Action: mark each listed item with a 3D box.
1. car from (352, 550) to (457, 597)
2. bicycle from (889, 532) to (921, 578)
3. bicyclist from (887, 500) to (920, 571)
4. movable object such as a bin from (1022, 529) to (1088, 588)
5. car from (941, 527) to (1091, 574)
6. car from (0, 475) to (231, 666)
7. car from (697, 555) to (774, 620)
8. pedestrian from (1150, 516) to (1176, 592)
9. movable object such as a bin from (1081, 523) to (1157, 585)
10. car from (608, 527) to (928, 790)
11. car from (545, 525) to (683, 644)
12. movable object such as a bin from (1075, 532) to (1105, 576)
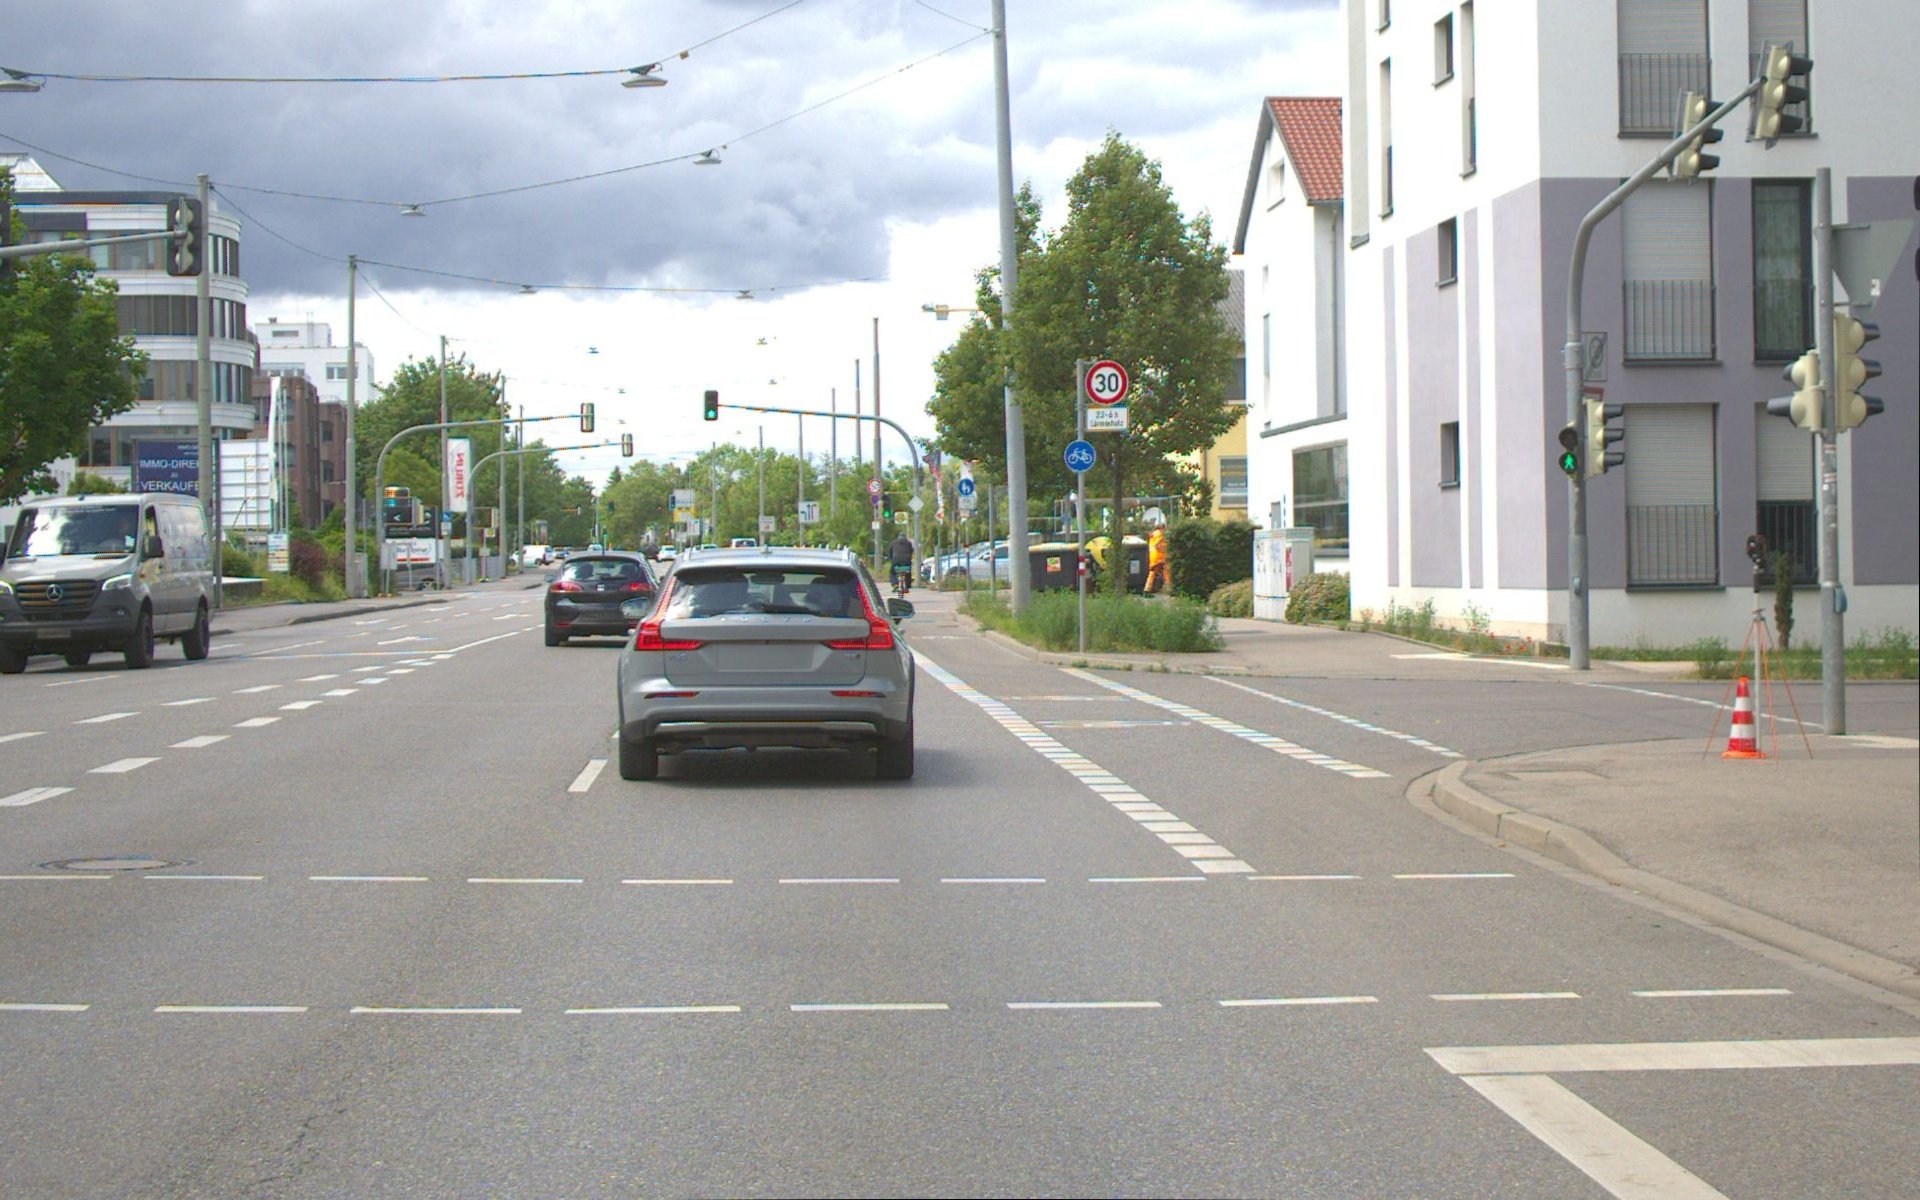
[{"bbox_3d":[-22.657,-1.080,140.208,4.092,1.393,1.909,-7,3,-10],"label":"car"},{"bbox_3d":[-1.335,-1.101,83.087,0.638,1.059,1.978,-4,1,-3],"label":"bicycle"},{"bbox_3d":[-1.375,-1.554,83.270,0.638,1.669,0.890,-4,1,-3],"label":"bicyclist"},{"bbox_3d":[2.257,-0.976,81.306,1.320,1.356,1.250,-1,0,13],"label":"movable object such as a bin"},{"bbox_3d":[1.779,-1.597,110.342,4.696,1.488,2.046,0,1,-3],"label":"car"},{"bbox_3d":[-12.004,-0.435,48.814,2.142,2.463,6.074,-3,1,-2],"label":"car"},{"bbox_3d":[-6.092,-0.334,93.339,1.993,1.689,4.000,1,0,-4],"label":"car"},{"bbox_3d":[4.725,-1.059,80.034,0.507,1.759,0.500,1,0,14],"label":"pedestrian"},{"bbox_3d":[3.779,-1.084,81.693,1.321,1.430,1.249,-1,0,34],"label":"movable object such as a bin"},{"bbox_3d":[-1.271,0.343,22.638,1.895,1.549,4.000,1,0,-3],"label":"car"},{"bbox_3d":[-5.282,-0.238,52.675,1.993,1.711,4.001,1,0,-5],"label":"car"},{"bbox_3d":[3.102,-1.097,82.216,0.567,1.023,0.405,-1,0,34],"label":"movable object such as a bin"}]
